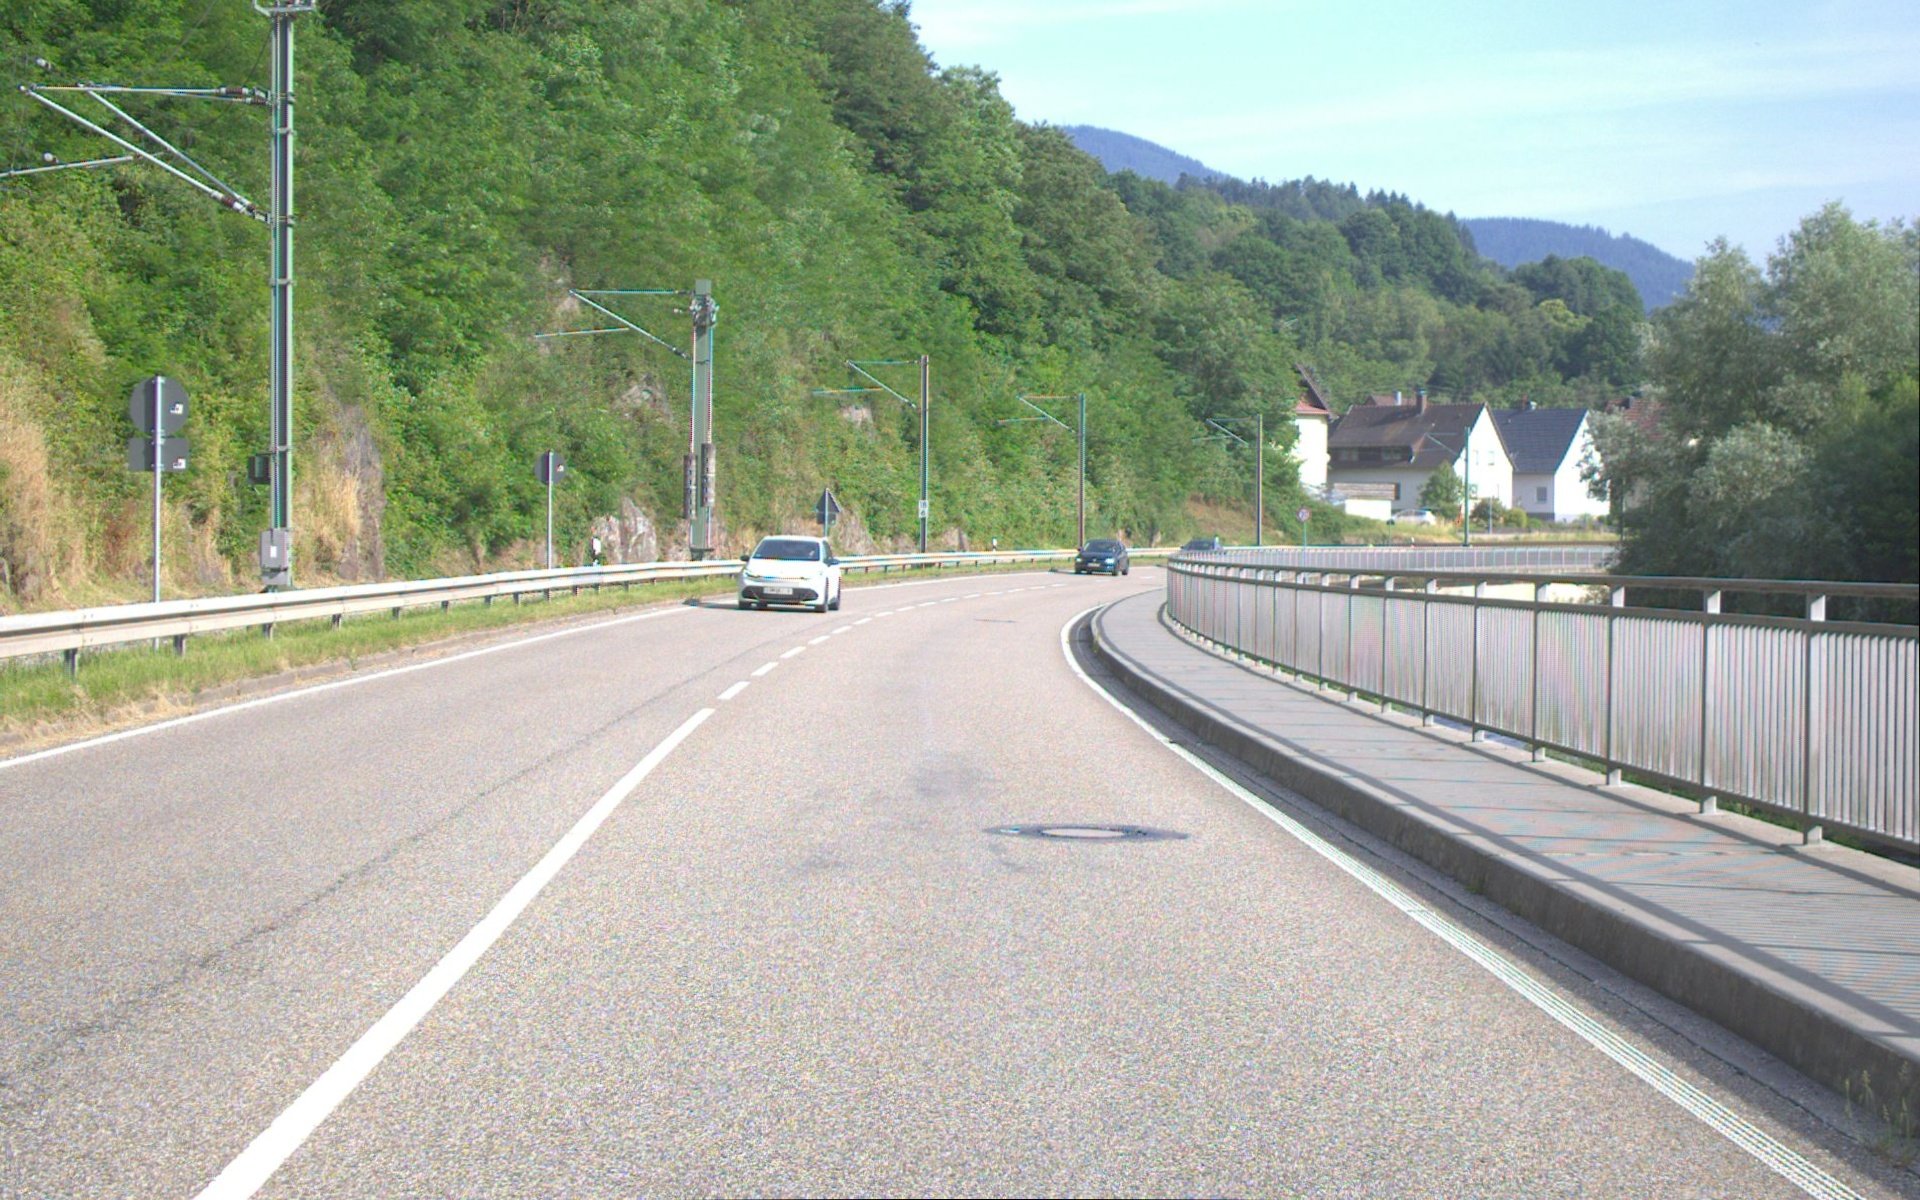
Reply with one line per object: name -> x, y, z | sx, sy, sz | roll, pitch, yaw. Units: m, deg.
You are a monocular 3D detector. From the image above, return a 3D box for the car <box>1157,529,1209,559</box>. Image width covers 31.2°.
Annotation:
car -> 10.774, -2.703, 165.589 | 1.848, 1.397, 4.474 | 1, 1, 12

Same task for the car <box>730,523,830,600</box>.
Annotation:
car -> -3.684, -0.819, 71.003 | 1.847, 1.539, 4.604 | 0, 1, -1

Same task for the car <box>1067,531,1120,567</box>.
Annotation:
car -> 5.550, -2.124, 142.687 | 1.848, 1.435, 3.896 | 0, 1, 8
